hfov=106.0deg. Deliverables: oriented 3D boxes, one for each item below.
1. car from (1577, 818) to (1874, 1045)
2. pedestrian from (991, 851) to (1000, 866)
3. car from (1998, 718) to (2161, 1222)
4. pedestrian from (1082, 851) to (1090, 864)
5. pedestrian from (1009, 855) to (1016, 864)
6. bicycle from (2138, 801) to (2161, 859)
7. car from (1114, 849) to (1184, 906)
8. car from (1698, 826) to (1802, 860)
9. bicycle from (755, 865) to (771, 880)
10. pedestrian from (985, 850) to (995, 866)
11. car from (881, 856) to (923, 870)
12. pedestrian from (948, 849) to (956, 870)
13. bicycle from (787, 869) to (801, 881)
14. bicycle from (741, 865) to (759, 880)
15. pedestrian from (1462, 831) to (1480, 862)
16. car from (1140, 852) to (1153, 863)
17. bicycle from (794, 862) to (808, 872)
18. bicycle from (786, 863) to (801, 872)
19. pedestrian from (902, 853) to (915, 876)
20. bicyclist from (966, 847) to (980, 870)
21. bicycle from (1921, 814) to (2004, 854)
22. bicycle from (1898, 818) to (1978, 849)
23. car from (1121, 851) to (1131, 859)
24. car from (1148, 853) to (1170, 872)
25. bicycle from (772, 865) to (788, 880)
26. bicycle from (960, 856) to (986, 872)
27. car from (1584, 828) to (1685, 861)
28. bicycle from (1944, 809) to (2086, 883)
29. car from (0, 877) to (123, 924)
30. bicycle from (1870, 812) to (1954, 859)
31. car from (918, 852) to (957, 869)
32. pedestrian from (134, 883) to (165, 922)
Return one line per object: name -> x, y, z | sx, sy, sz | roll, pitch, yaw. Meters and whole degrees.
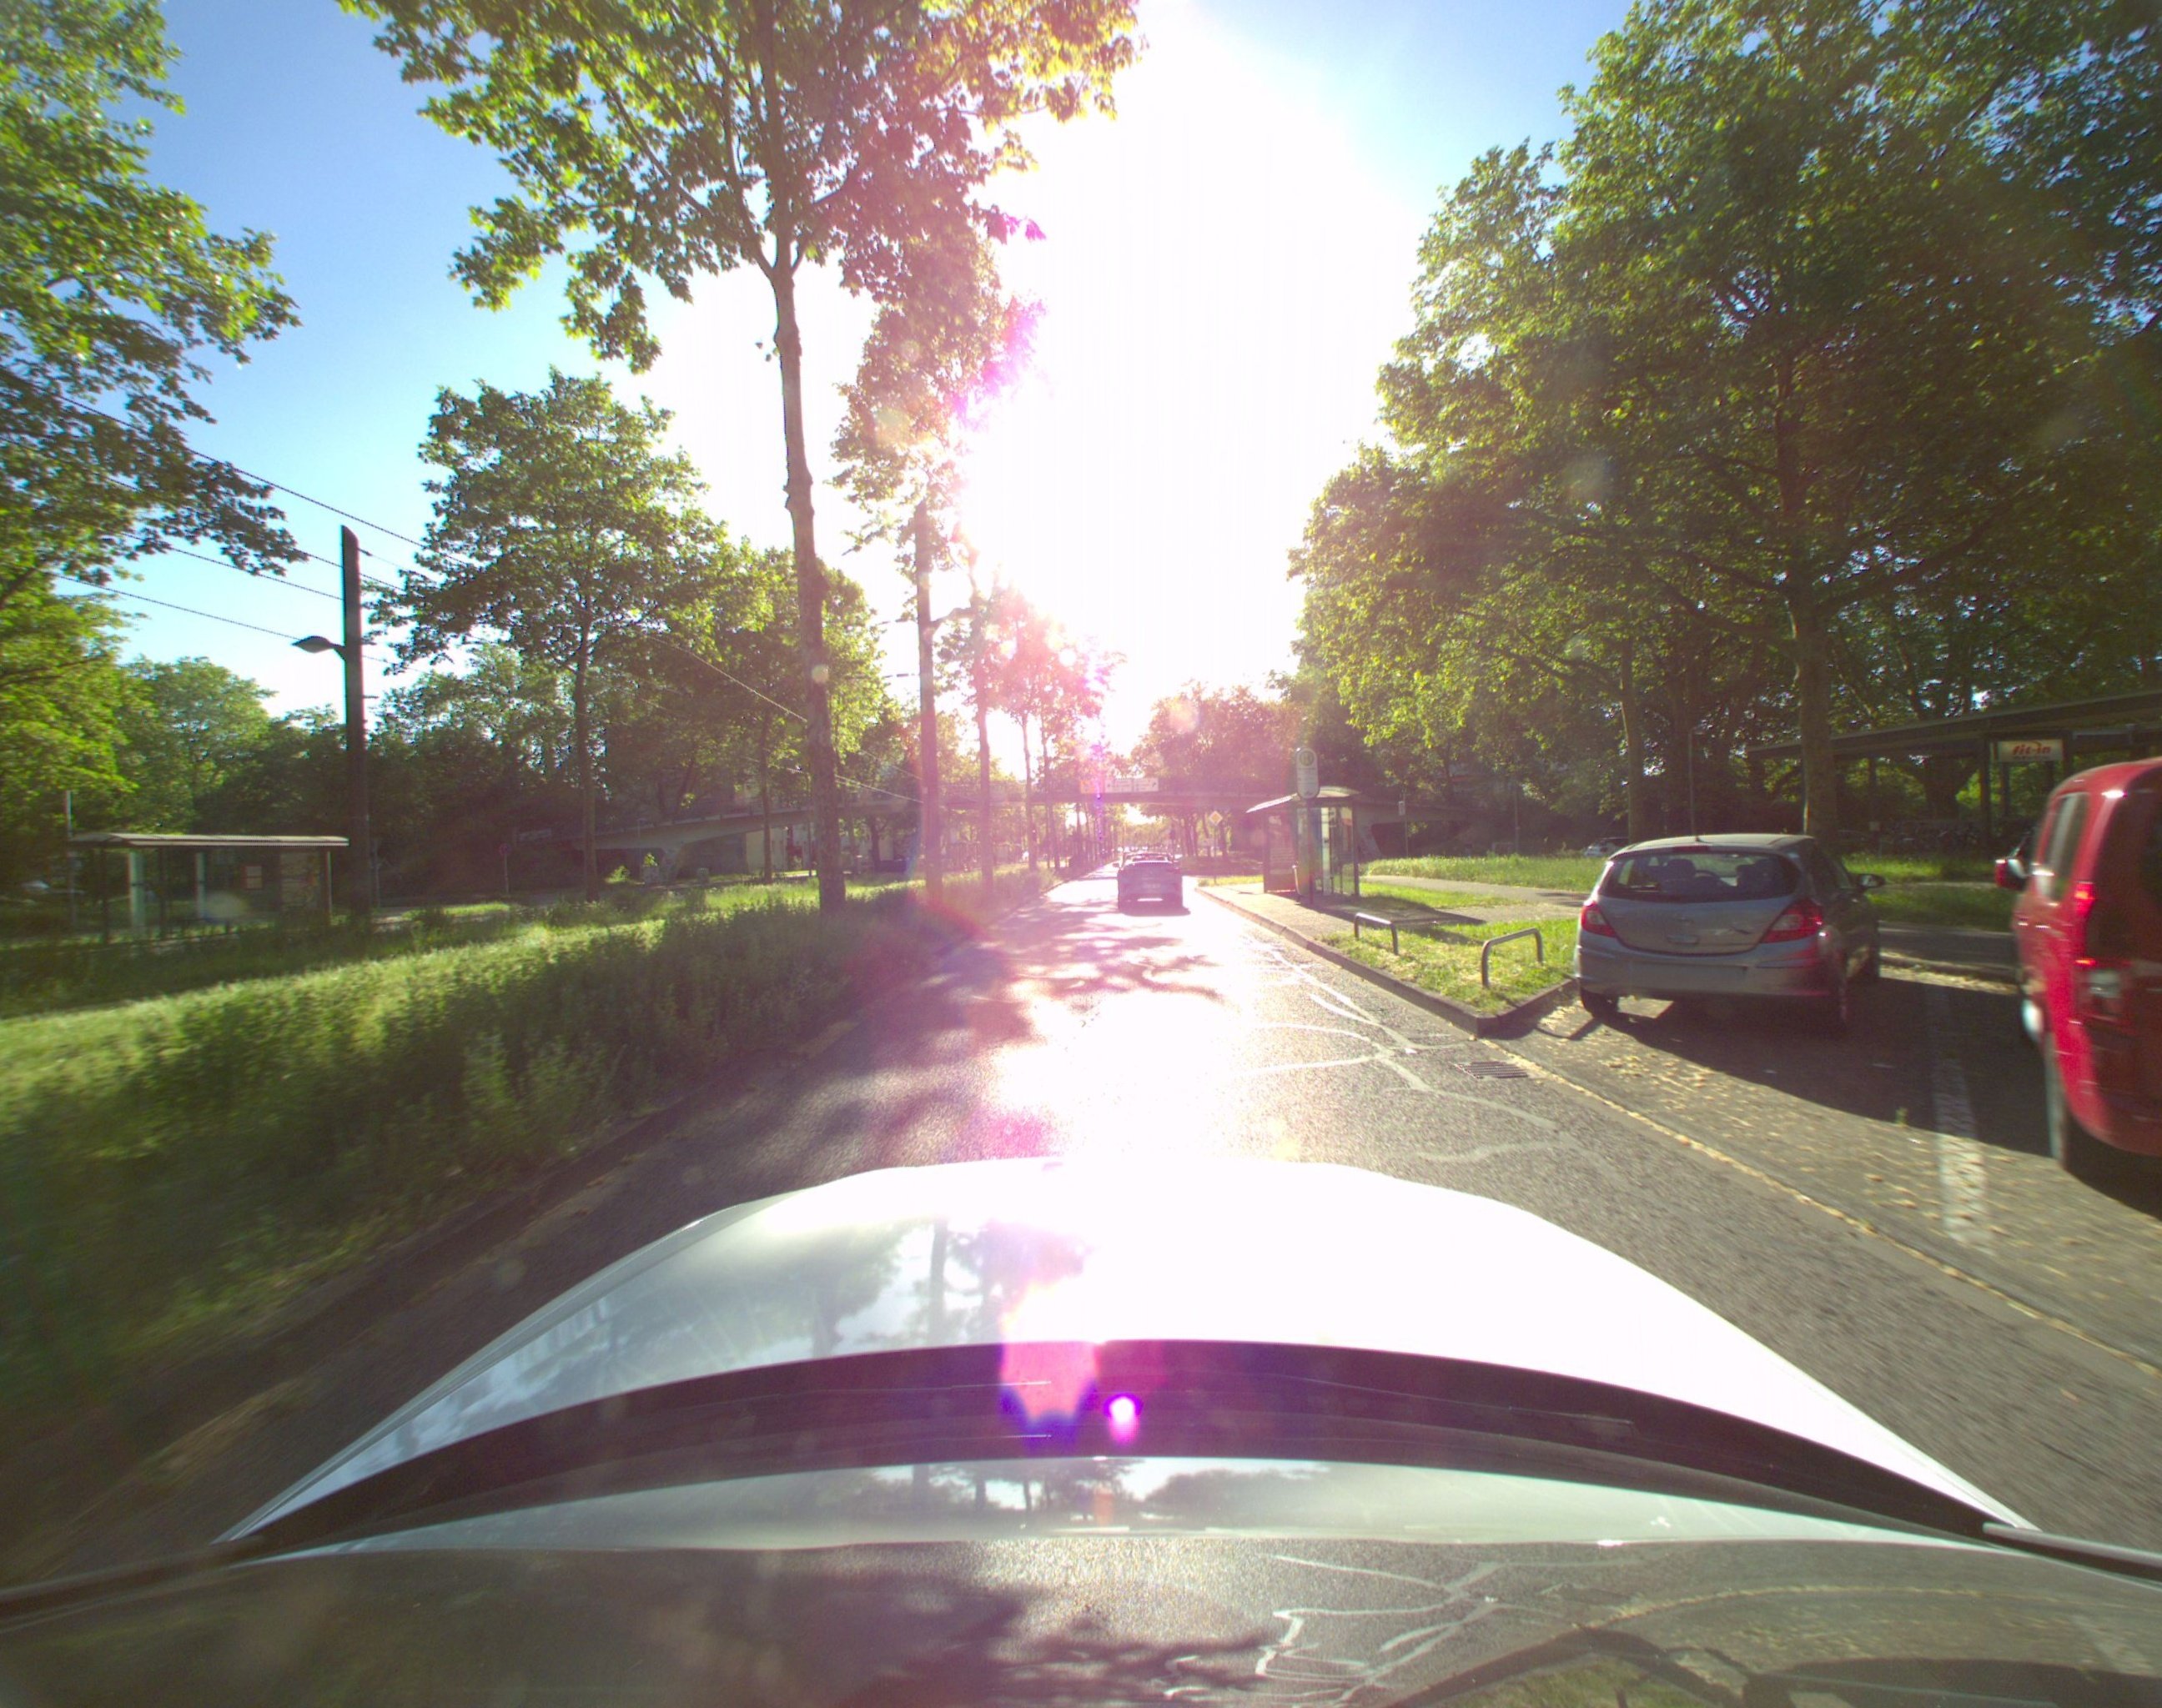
car -> 5.960, 0.491, 7.354 | 3.851, 1.472, 1.500 | -4, 0, -43
pedestrian -> -8.655, 0.455, 82.472 | 0.676, 1.514, 0.648 | -3, 0, 20
car -> 5.776, 0.316, 3.885 | 3.973, 1.842, 1.747 | -4, 0, -42
pedestrian -> 0.434, 0.349, 77.055 | 0.732, 1.252, 0.587 | 0, -1, -3
pedestrian -> -8.945, 0.754, 105.905 | 0.691, 1.127, 0.663 | -5, -1, 4
bicycle -> 23.577, -0.531, 17.042 | 0.573, 1.253, 1.807 | -1, 0, 2
car -> 1.871, 0.611, 23.367 | 1.769, 1.483, 4.101 | 0, 0, 1
car -> 32.150, -0.534, 39.192 | 3.970, 1.495, 1.664 | -2, 2, -9
bicycle -> -22.642, 1.293, 58.009 | 0.432, 1.009, 1.688 | -1, 0, 3
pedestrian -> -9.343, 0.442, 83.690 | 0.706, 1.634, 0.736 | -3, -1, 30
car -> -19.701, 0.967, 89.609 | 4.218, 1.428, 1.682 | -1, 1, -35
pedestrian -> -11.074, 0.445, 69.702 | 0.506, 1.770, 0.478 | 0, -1, -37
bicycle -> -20.016, 1.450, 56.796 | 0.432, 0.778, 1.175 | -1, 0, 3
bicycle -> -23.115, 1.294, 56.894 | 0.432, 1.009, 1.688 | -1, 0, 3
pedestrian -> 23.516, -0.458, 49.089 | 0.657, 1.777, 0.738 | -2, 1, -6
car -> 9.418, 0.450, 117.140 | 1.632, 1.494, 3.506 | -1, 1, 3
bicycle -> -31.331, 1.458, 91.121 | 0.693, 0.928, 2.596 | -1, 1, 0
bicycle -> -32.165, 1.468, 91.164 | 0.693, 0.928, 2.596 | -1, 1, 0
pedestrian -> -12.750, 0.784, 60.311 | 0.723, 1.674, 1.048 | -1, -1, 0
bicyclist -> -7.923, 0.320, 59.912 | 0.951, 1.632, 0.814 | 0, 1, -4
bicycle -> 26.843, -0.604, 24.807 | 1.797, 1.115, 0.709 | -3, -2, -5
bicycle -> 32.098, -0.735, 30.545 | 0.503, 0.960, 2.193 | -3, -3, -3
car -> 8.613, 0.194, 155.683 | 1.703, 1.603, 3.352 | -1, 0, 3
car -> 7.507, 0.798, 79.074 | 1.973, 1.792, 4.618 | -1, 0, 3
bicycle -> -21.240, 1.275, 57.466 | 0.432, 1.009, 1.688 | -1, 0, 3
bicycle -> -7.917, 0.750, 59.912 | 1.827, 1.147, 0.814 | 0, 1, -4
car -> 26.517, -0.473, 39.093 | 3.716, 1.495, 1.710 | -1, 2, 0
bicycle -> 16.285, -0.144, 14.212 | 2.065, 1.158, 0.560 | -3, 0, -8
car -> -47.708, 2.116, 36.686 | 6.119, 1.949, 2.223 | -2, 0, -3
bicycle -> 23.536, -0.502, 23.120 | 0.573, 1.253, 1.807 | -1, 0, 2
car -> -18.589, 0.809, 105.546 | 4.519, 2.063, 1.880 | -1, 1, -35
pedestrian -> -36.651, 1.908, 32.047 | 0.532, 1.491, 0.586 | -1, -1, -4
